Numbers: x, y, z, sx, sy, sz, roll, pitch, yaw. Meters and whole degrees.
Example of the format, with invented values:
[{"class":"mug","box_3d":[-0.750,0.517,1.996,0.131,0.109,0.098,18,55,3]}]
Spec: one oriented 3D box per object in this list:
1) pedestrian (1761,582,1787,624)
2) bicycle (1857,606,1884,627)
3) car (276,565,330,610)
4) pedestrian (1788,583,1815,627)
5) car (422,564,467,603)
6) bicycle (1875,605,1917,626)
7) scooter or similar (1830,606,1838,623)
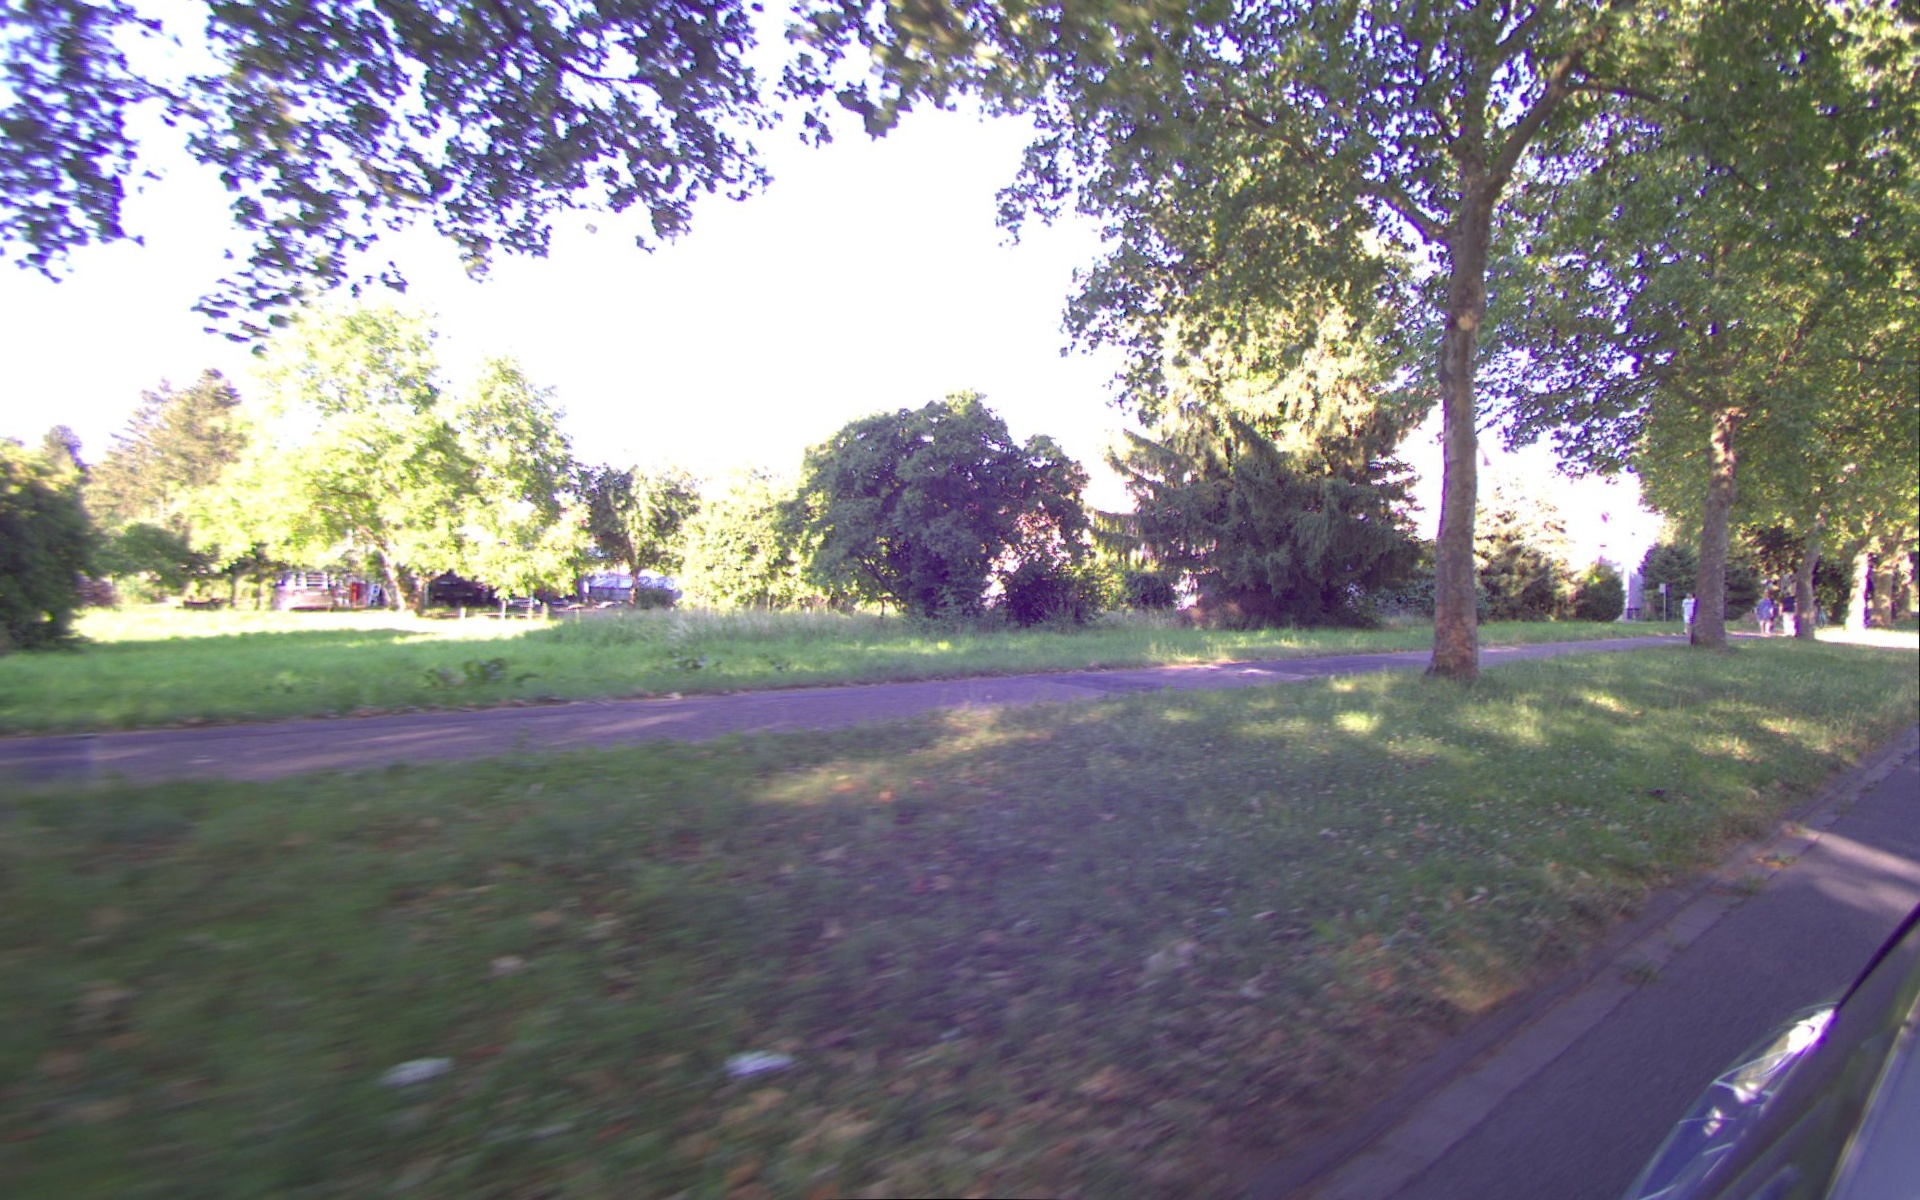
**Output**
[{"class":"pedestrian","box_3d":[36.226,0.132,45.022,0.788,1.870,0.756,1,0,-40]},{"class":"bicycle","box_3d":[48.708,0.866,54.146,0.442,1.096,1.990,3,0,25]},{"class":"car","box_3d":[-30.489,-0.572,47.059,1.896,1.972,4.004,-1,1,-30]},{"class":"pedestrian","box_3d":[36.608,0.220,44.046,0.773,1.869,0.763,1,0,-40]},{"class":"car","box_3d":[-28.178,-0.882,55.232,1.960,2.039,4.004,-1,1,-30]},{"class":"bicycle","box_3d":[50.106,0.841,54.205,0.437,1.048,1.723,3,0,-9]},{"class":"scooter or similar","box_3d":[60.212,1.003,69.713,0.382,1.212,1.235,0,-1,43]}]
